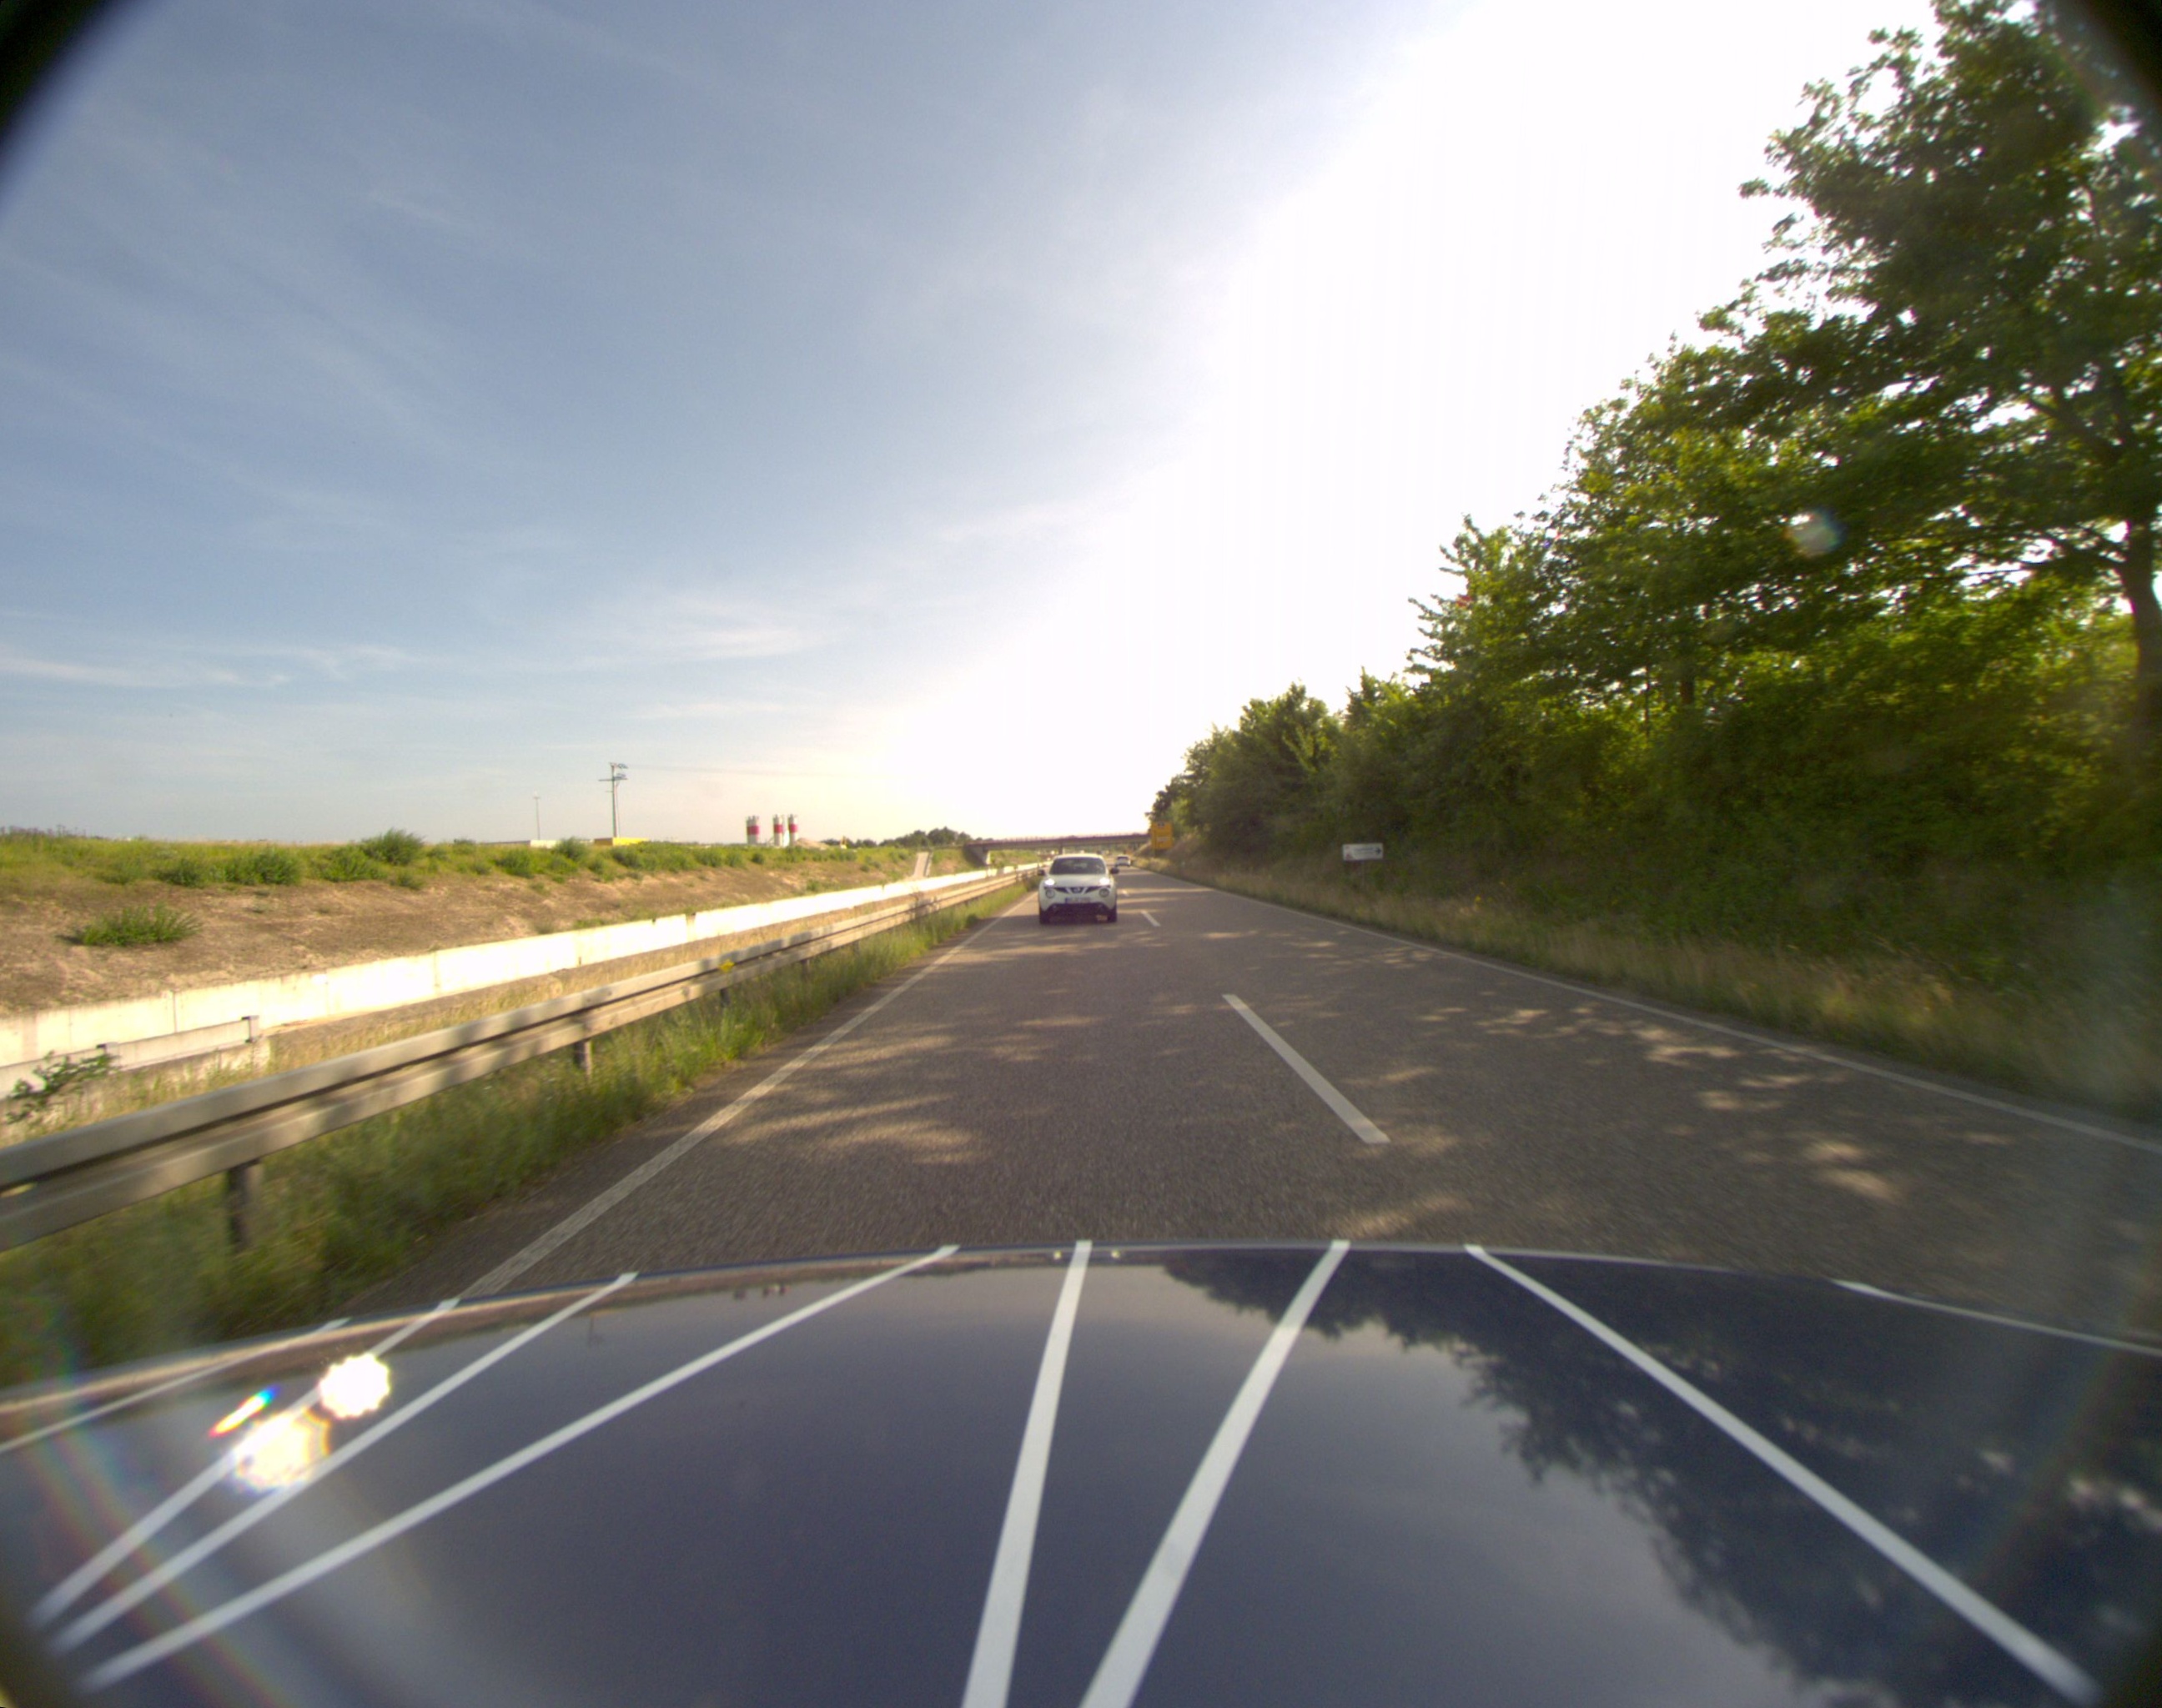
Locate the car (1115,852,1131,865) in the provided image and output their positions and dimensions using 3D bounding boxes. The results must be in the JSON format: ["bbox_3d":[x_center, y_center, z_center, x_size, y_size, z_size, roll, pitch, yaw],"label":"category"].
[{"bbox_3d":[5.328,0.505,95.971,1.749,1.555,4.365,-2,0,0],"label":"car"}]

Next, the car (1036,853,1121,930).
[{"bbox_3d":[-0.081,0.801,18.731,1.789,1.593,4.571,-2,0,-1],"label":"car"}]

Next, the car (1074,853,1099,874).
[{"bbox_3d":[0.486,0.711,60.672,1.908,1.512,4.465,-2,0,1],"label":"car"}]
